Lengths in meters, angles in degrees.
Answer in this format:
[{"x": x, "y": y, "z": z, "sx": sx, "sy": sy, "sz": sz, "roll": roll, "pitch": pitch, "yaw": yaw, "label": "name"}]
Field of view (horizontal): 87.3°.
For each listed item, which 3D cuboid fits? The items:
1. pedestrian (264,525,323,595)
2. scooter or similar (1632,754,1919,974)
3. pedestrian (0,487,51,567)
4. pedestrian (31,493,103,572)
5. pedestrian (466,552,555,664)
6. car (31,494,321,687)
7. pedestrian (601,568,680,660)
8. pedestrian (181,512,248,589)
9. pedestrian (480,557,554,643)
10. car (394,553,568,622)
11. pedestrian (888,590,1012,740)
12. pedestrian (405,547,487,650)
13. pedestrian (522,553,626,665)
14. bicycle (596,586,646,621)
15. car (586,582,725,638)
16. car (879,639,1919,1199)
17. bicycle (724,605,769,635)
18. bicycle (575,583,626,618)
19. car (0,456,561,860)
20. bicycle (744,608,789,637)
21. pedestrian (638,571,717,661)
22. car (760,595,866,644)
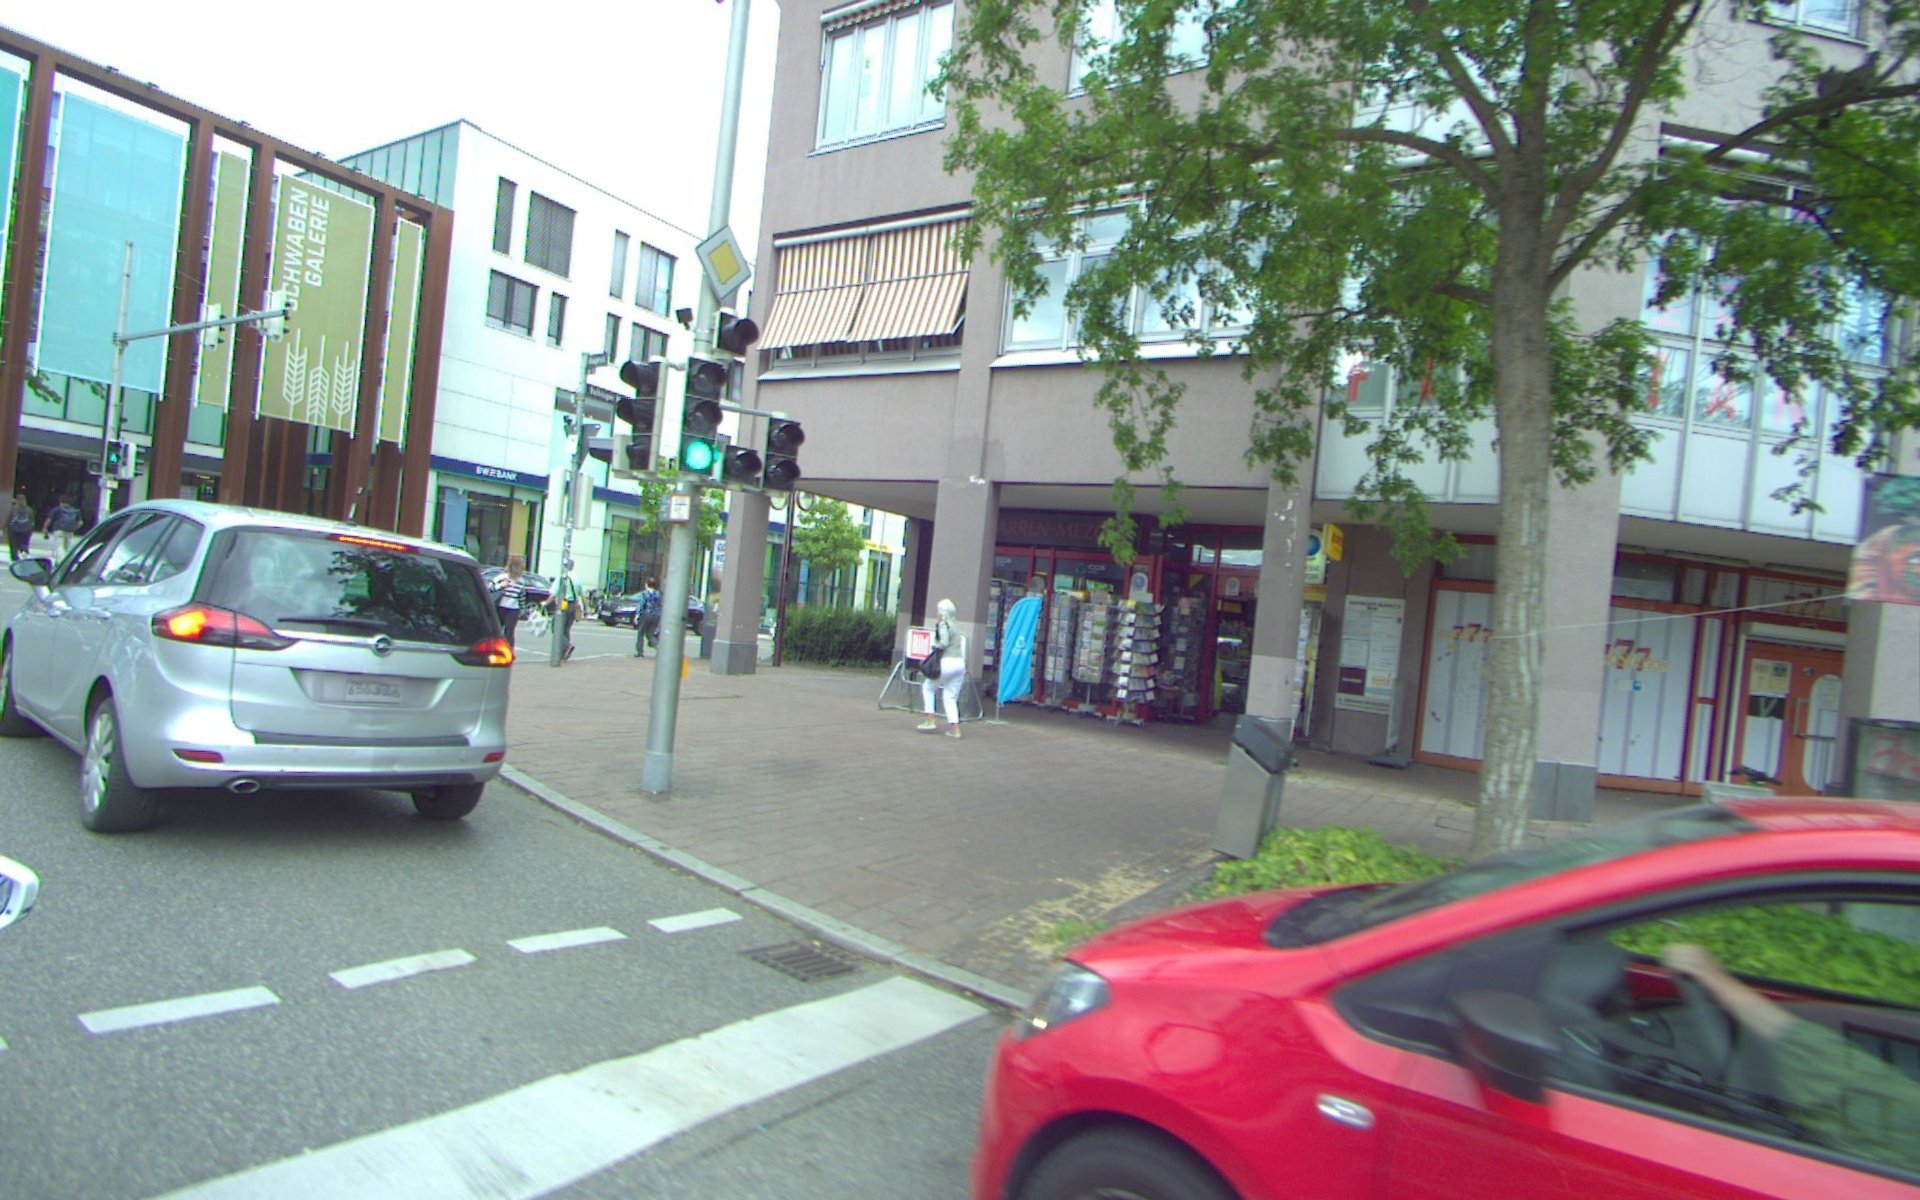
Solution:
[{"x": -18.751, "y": -1.120, "z": 28.303, "sx": 1.102, "sy": 1.789, "sz": 0.879, "roll": 7, "pitch": 0, "yaw": 32, "label": "pedestrian"}, {"x": 5.562, "y": 1.706, "z": 6.520, "sx": 1.852, "sy": 1.101, "sz": 0.471, "roll": 6, "pitch": 1, "yaw": 17, "label": "scooter or similar"}, {"x": -21.541, "y": -1.681, "z": 22.899, "sx": 1.102, "sy": 1.702, "sz": 0.879, "roll": 7, "pitch": 0, "yaw": 32, "label": "pedestrian"}, {"x": -21.070, "y": -1.584, "z": 23.736, "sx": 1.102, "sy": 1.702, "sz": 0.879, "roll": 7, "pitch": 0, "yaw": 32, "label": "pedestrian"}, {"x": -7.148, "y": 0.128, "z": 15.997, "sx": 0.937, "sy": 1.647, "sz": 0.742, "roll": 7, "pitch": 1, "yaw": 31, "label": "pedestrian"}, {"x": -8.915, "y": -0.142, "z": 11.911, "sx": 1.838, "sy": 1.627, "sz": 4.825, "roll": 9, "pitch": -2, "yaw": -29, "label": "car"}, {"x": -5.969, "y": 0.271, "z": 18.822, "sx": 0.953, "sy": 1.577, "sz": 0.831, "roll": 7, "pitch": 0, "yaw": 30, "label": "pedestrian"}, {"x": -18.922, "y": -1.249, "z": 25.537, "sx": 1.102, "sy": 1.789, "sz": 0.879, "roll": 7, "pitch": 0, "yaw": 32, "label": "pedestrian"}, {"x": -9.087, "y": -0.002, "z": 20.624, "sx": 1.023, "sy": 1.614, "sz": 0.822, "roll": 7, "pitch": 0, "yaw": 34, "label": "pedestrian"}, {"x": -13.821, "y": -0.319, "z": 29.275, "sx": 1.771, "sy": 1.420, "sz": 4.180, "roll": 7, "pitch": -2, "yaw": 32, "label": "car"}, {"x": -0.121, "y": 0.774, "z": 12.257, "sx": 1.075, "sy": 1.647, "sz": 0.809, "roll": 7, "pitch": 1, "yaw": 32, "label": "pedestrian"}, {"x": -8.806, "y": -0.021, "z": 17.235, "sx": 0.937, "sy": 1.647, "sz": 0.742, "roll": 7, "pitch": 1, "yaw": 31, "label": "pedestrian"}, {"x": -6.566, "y": 0.156, "z": 17.137, "sx": 1.092, "sy": 1.736, "sz": 1.057, "roll": 7, "pitch": 0, "yaw": 33, "label": "pedestrian"}, {"x": -13.355, "y": 0.134, "z": 39.595, "sx": 1.960, "sy": 1.115, "sz": 0.719, "roll": 7, "pitch": 0, "yaw": 34, "label": "bicycle"}, {"x": -10.640, "y": 0.404, "z": 35.435, "sx": 1.771, "sy": 1.420, "sz": 4.542, "roll": 7, "pitch": -2, "yaw": 32, "label": "car"}, {"x": 1.799, "y": 1.073, "z": 1.884, "sx": 3.584, "sy": 1.465, "sz": 1.629, "roll": 7, "pitch": -2, "yaw": 35, "label": "car"}, {"x": -9.670, "y": 0.899, "z": 45.492, "sx": 1.960, "sy": 1.115, "sz": 0.719, "roll": 7, "pitch": 0, "yaw": 34, "label": "bicycle"}, {"x": -13.840, "y": 0.030, "z": 38.733, "sx": 1.960, "sy": 1.115, "sz": 0.719, "roll": 7, "pitch": 0, "yaw": 34, "label": "bicycle"}, {"x": -4.557, "y": 0.164, "z": 6.282, "sx": 4.315, "sy": 1.720, "sz": 1.740, "roll": 6, "pitch": -2, "yaw": 38, "label": "car"}, {"x": -8.924, "y": 1.037, "z": 46.361, "sx": 1.960, "sy": 1.115, "sz": 0.719, "roll": 7, "pitch": 0, "yaw": 34, "label": "bicycle"}, {"x": -5.503, "y": 0.322, "z": 19.588, "sx": 1.041, "sy": 1.603, "sz": 0.831, "roll": 7, "pitch": 0, "yaw": 30, "label": "pedestrian"}, {"x": -6.111, "y": 0.856, "z": 42.250, "sx": 1.771, "sy": 1.505, "sz": 4.565, "roll": 7, "pitch": -2, "yaw": 32, "label": "car"}]
